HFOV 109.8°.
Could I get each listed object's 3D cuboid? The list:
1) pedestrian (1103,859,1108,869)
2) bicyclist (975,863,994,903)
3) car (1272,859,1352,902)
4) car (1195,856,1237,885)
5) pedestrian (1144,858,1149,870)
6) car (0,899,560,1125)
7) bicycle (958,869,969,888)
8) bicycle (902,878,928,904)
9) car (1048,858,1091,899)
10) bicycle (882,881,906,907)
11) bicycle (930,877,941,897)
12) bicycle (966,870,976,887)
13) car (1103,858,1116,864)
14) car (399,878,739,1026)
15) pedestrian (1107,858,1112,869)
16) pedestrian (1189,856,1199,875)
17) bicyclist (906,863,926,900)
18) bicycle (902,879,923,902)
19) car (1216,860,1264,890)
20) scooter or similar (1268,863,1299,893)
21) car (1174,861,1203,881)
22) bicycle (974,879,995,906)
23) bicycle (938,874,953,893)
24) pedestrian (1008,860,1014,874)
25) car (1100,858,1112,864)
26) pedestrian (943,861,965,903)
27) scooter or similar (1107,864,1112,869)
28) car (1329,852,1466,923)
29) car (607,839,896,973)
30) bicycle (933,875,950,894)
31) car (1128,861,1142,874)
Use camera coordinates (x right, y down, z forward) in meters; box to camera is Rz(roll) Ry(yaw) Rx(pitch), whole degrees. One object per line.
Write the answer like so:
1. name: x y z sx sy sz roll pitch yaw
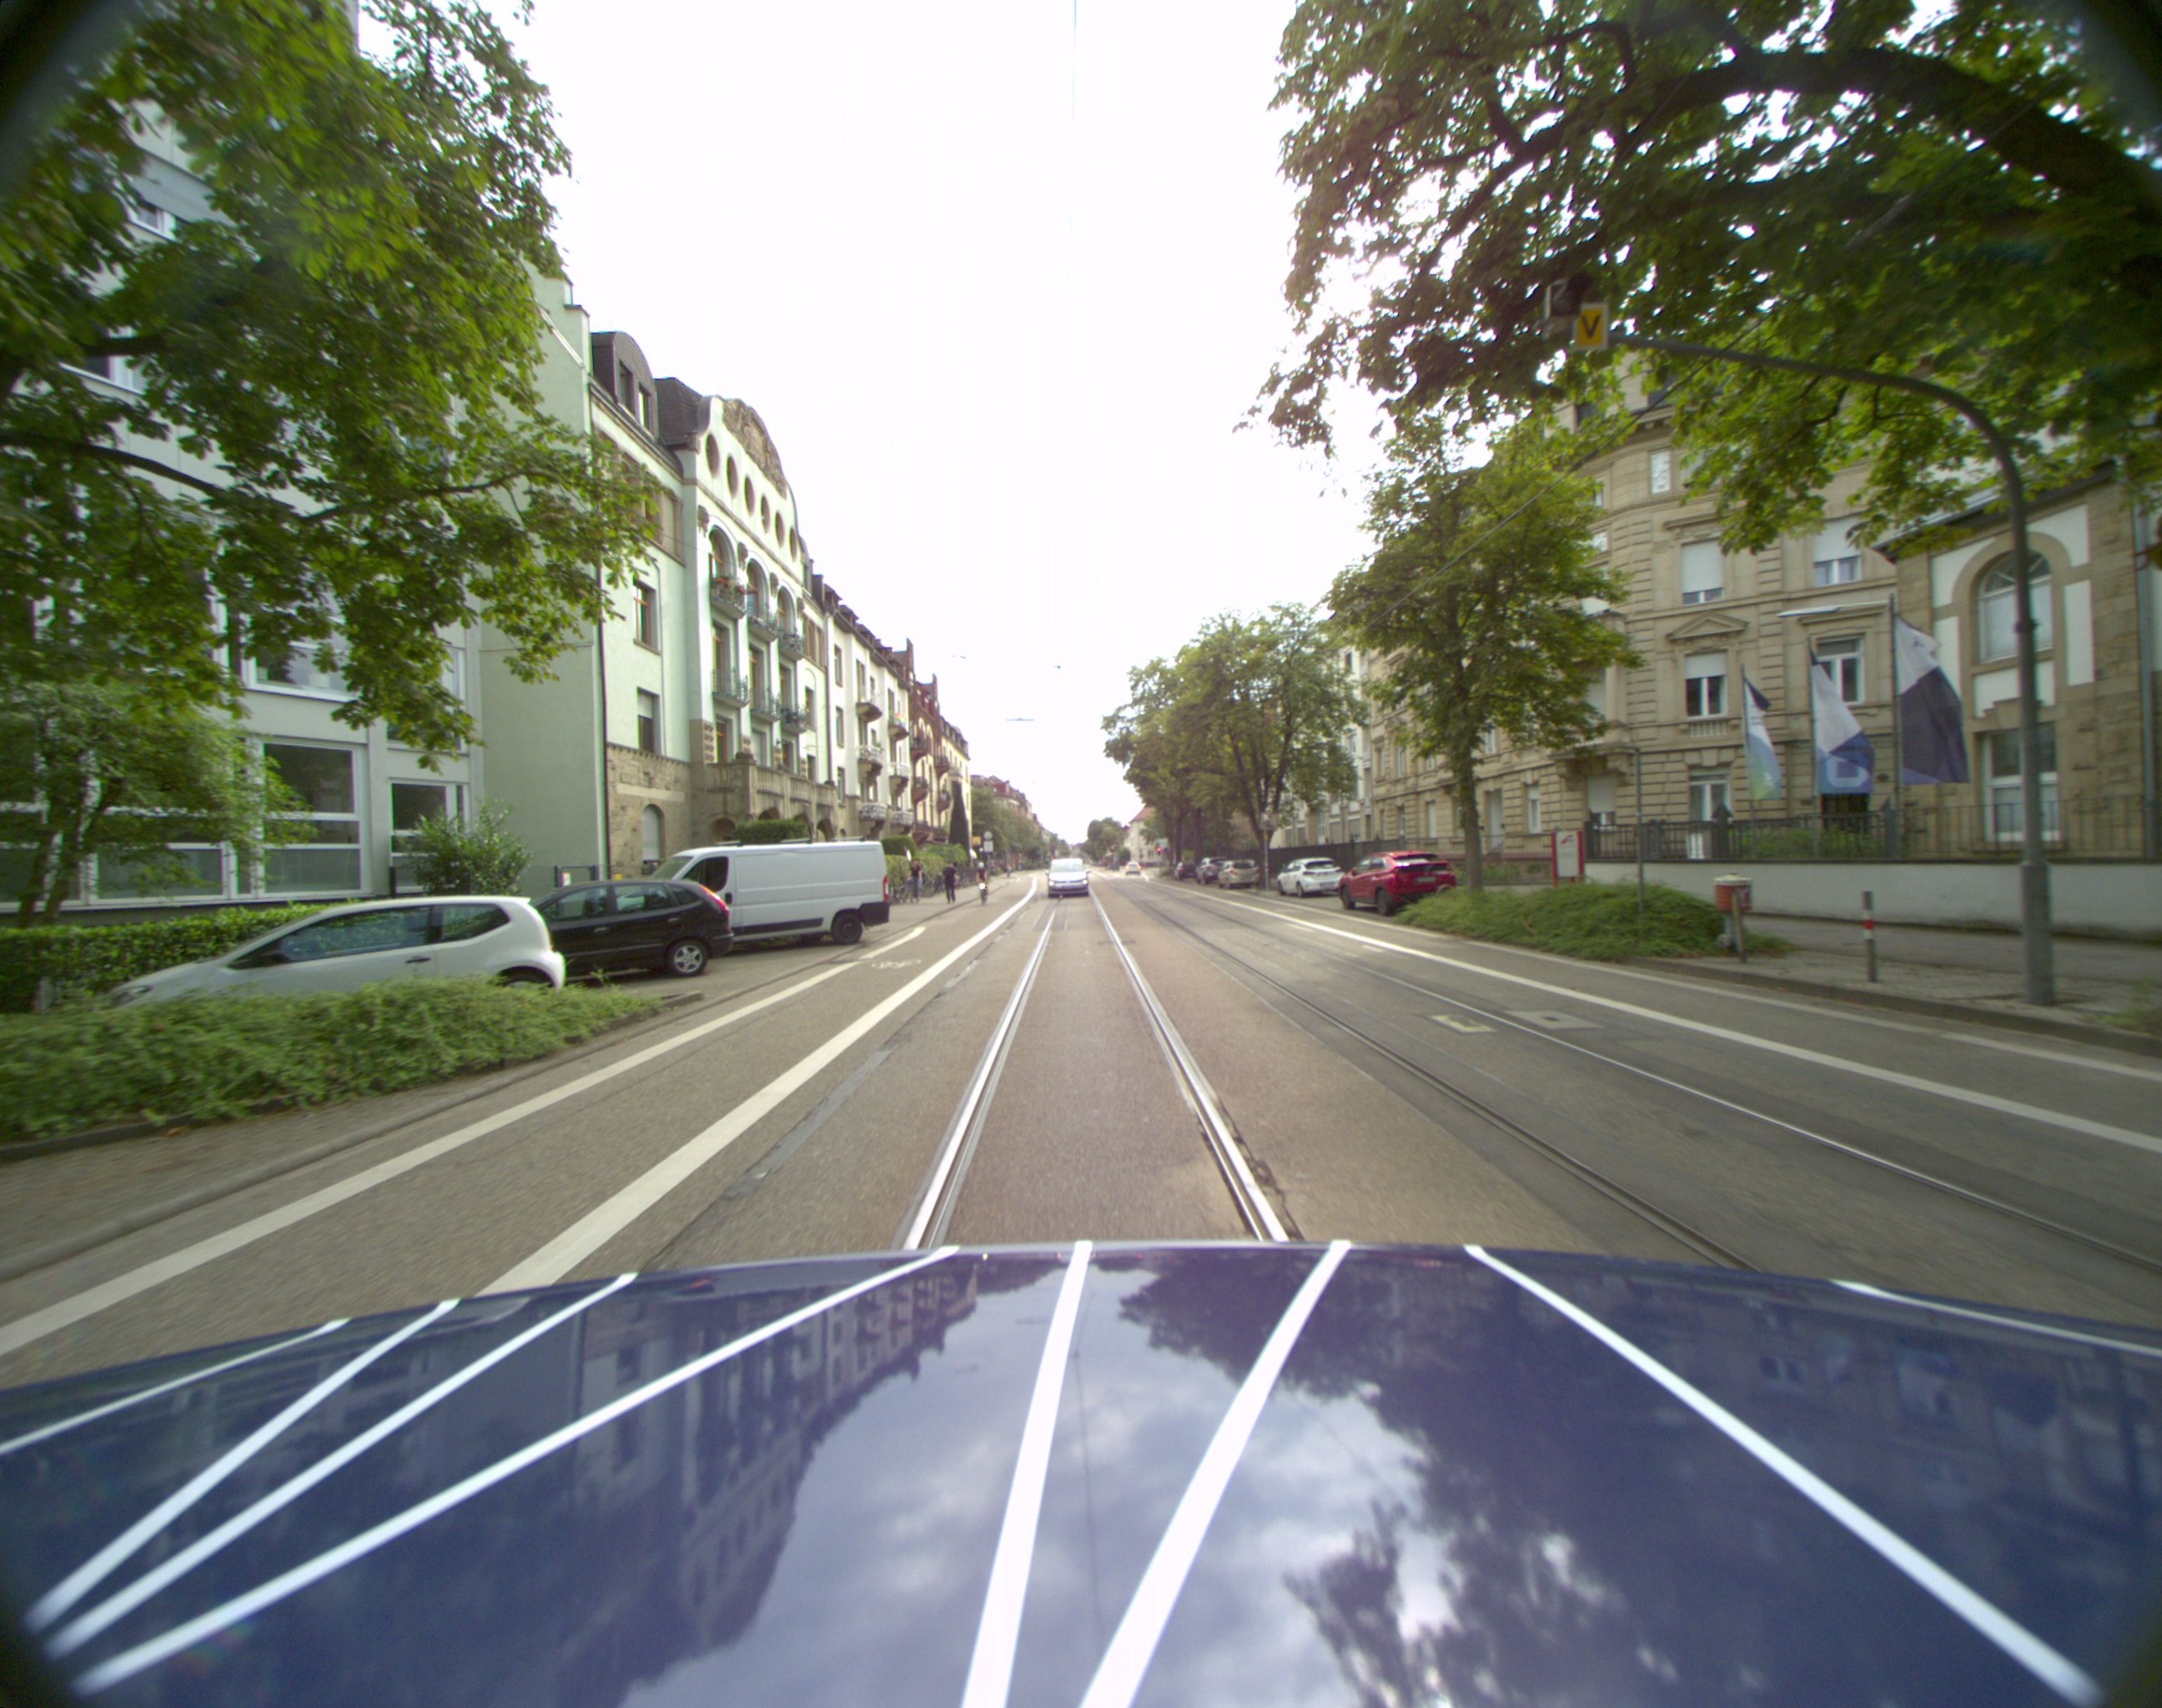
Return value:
1. pedestrian: 4.400 1.795 138.305 0.658 1.824 0.464 -3 0 -13
2. bicyclist: -3.826 1.142 30.266 0.640 1.561 1.110 -1 0 -3
3. car: 8.931 0.977 29.729 1.726 1.415 4.023 -4 0 -1
4. car: 8.372 0.996 47.516 1.715 1.663 4.357 -2 0 -1
5. pedestrian: 9.593 1.423 111.372 0.654 1.680 0.711 -2 0 -4
6. car: -8.004 1.368 7.771 1.685 1.502 4.100 -2 0 45
7. bicycle: -7.246 1.520 46.844 0.392 1.135 1.921 -1 0 0
8. bicycle: -6.639 1.485 30.533 0.690 0.956 2.036 0 -1 -3
9. car: -0.472 1.079 34.998 1.767 1.660 4.329 -4 0 0
10. bicycle: -7.304 1.539 29.697 0.387 0.902 1.665 -1 0 4
11. bicycle: -7.095 1.584 37.119 0.487 0.902 1.663 -1 0 -11
12. bicycle: -7.153 1.583 49.559 0.392 1.096 1.759 -1 0 0
13. car: 8.865 2.290 239.547 3.996 1.716 1.877 -3 0 2
14. car: -7.607 1.305 11.557 1.685 1.639 3.968 -2 0 45
15. pedestrian: 4.568 1.577 122.715 0.684 1.680 0.815 -2 -1 0
16. pedestrian: 10.814 1.096 72.575 0.707 1.725 0.701 -3 0 -5
17. bicyclist: -6.642 1.114 30.652 0.649 1.461 0.800 0 0 -3
18. bicycle: -7.236 1.557 32.687 0.387 0.902 1.665 -1 0 4
19. car: 8.298 1.070 39.935 1.605 1.459 4.079 -2 0 -1
20. scooter or similar: 8.751 1.030 32.829 0.563 1.215 1.321 -2 0 -24
21. car: 8.375 1.305 59.564 1.724 1.416 4.166 -4 0 1
22. bicycle: -3.817 1.529 30.278 0.640 0.975 2.071 -1 0 -3
23. bicycle: -7.251 1.576 40.816 0.487 0.902 1.665 -1 0 0
24. pedestrian: -8.847 1.655 96.505 0.721 1.650 0.759 2 0 -4
25. car: 8.494 2.451 258.806 3.996 1.716 1.877 -3 0 2
26. pedestrian: -5.233 1.141 31.362 0.787 1.722 0.896 0 0 -1
27. scooter or similar: 4.593 2.035 121.932 0.669 0.708 0.605 -1 0 32
28. car: 8.574 0.838 21.061 1.726 1.645 4.542 -4 0 -1
29. car: -6.773 0.915 15.980 4.968 2.277 2.378 -3 0 -43
30. bicycle: -7.147 1.554 39.031 0.487 0.902 1.665 -1 0 3
31. car: 6.213 1.531 87.356 1.574 1.407 4.001 0 0 3
